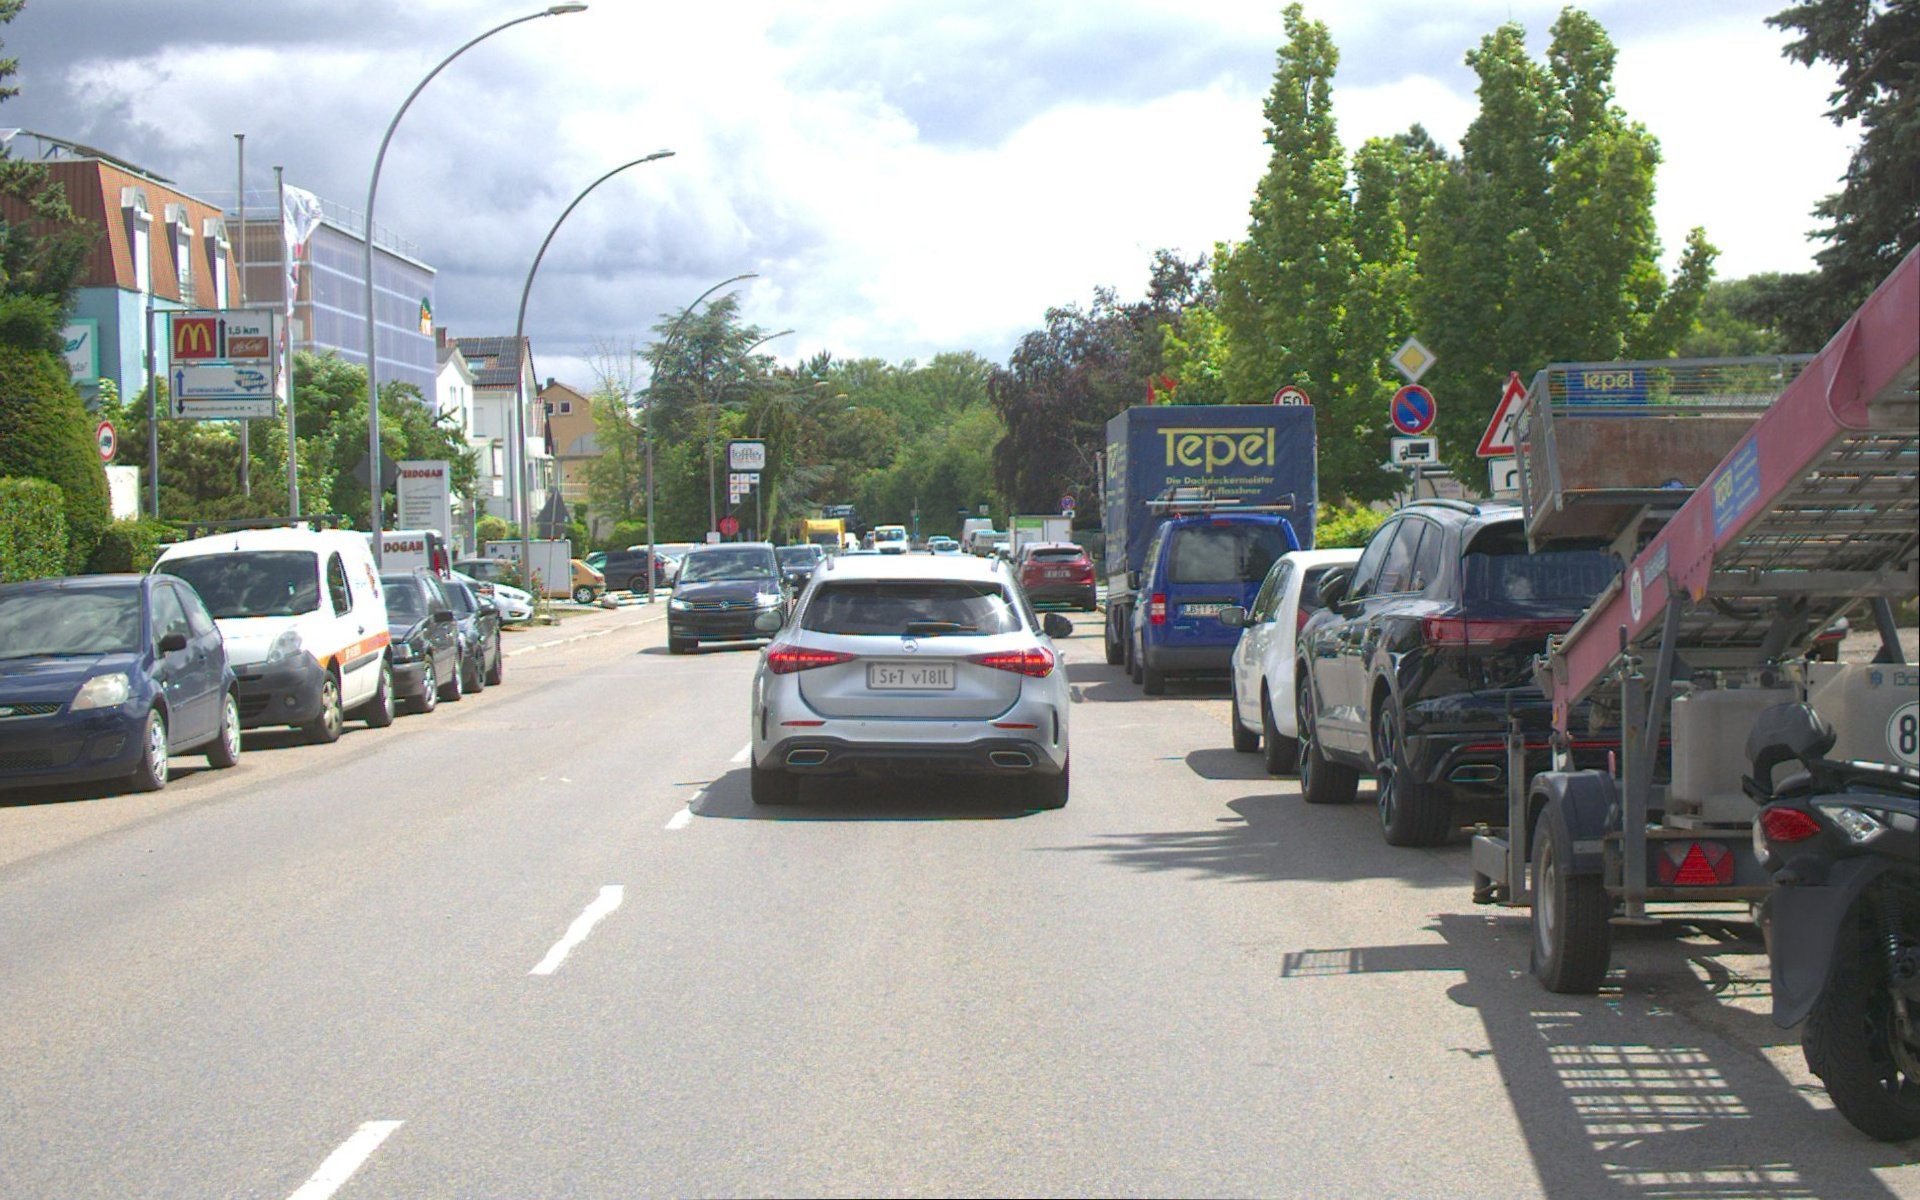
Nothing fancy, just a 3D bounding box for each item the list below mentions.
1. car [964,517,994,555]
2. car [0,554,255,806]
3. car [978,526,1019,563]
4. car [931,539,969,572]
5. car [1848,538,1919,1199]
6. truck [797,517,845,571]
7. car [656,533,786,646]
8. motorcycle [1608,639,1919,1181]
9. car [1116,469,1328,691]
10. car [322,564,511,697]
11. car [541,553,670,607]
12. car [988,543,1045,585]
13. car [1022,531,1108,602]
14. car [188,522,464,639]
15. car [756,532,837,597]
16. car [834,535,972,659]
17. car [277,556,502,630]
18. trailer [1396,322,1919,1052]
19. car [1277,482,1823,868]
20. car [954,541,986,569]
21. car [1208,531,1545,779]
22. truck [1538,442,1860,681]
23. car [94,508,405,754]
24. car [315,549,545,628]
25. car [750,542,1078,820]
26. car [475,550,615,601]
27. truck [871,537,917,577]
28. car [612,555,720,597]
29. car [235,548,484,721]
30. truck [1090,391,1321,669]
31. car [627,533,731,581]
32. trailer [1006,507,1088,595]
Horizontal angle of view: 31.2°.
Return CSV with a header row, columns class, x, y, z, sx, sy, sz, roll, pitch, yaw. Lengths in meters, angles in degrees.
class,x,y,z,sx,sy,sz,roll,pitch,yaw
car,1.242,-4.186,225.375,1.784,2.510,4.317,0,1,-2
car,-6.102,0.506,23.731,1.639,1.482,4.001,-4,2,-1
car,2.090,-3.041,187.969,2.144,1.977,5.261,-2,1,0
car,-0.501,-2.190,169.277,1.755,1.553,4.000,-1,1,-1
car,2.747,0.603,5.424,1.719,1.427,3.983,-3,2,2
truck,-7.499,-3.068,186.342,2.075,2.804,7.078,-2,1,1
car,-3.633,-0.193,52.873,1.743,1.622,4.356,-1,1,-1
motorcycle,2.585,0.721,8.850,1.817,1.205,0.717,-3,2,-35
car,2.679,-0.247,36.087,1.873,2.161,4.464,1,1,0
car,-6.284,0.316,40.100,1.630,1.299,4.117,-4,2,-2
car,-13.330,-0.760,129.356,4.626,1.627,2.198,-4,2,-3
car,2.106,-1.376,129.192,1.791,1.445,4.364,-2,1,-2
car,2.497,-0.815,81.864,1.941,1.566,4.445,-2,1,2
car,-11.470,-0.375,62.477,4.650,1.965,2.116,-1,1,-3
car,-4.393,-0.985,92.776,1.993,1.610,4.411,-2,1,-1
car,-0.767,-0.074,46.389,1.755,1.553,4.000,-1,1,-1
car,-10.817,-0.141,65.391,3.987,1.310,1.872,-1,0,-1
trailer,2.753,0.198,12.245,1.772,2.137,4.114,-2,1,-1
car,2.939,0.289,18.193,1.873,1.721,4.713,-2,1,-2
car,0.596,-2.777,213.193,1.784,1.709,4.317,0,1,-2
car,2.791,0.307,23.835,1.773,1.503,4.000,-2,1,-1
truck,7.287,-0.476,34.477,1.829,2.074,5.386,-4,3,-1
car,-5.997,0.193,29.514,1.743,1.832,4.356,-4,2,-1
car,-10.780,-0.232,70.129,4.374,1.473,1.871,-1,0,0
car,-0.326,0.401,20.845,1.784,1.479,4.317,0,1,-2
car,-12.768,-0.765,105.881,4.149,1.486,1.826,1,1,-3
truck,-3.806,-2.529,199.361,2.319,2.171,6.449,-2,1,2
car,-12.148,-0.988,142.151,4.279,1.561,1.991,-2,-2,0
car,-6.042,0.292,35.070,1.743,1.467,4.645,-4,2,-1
truck,2.865,-0.852,41.569,2.320,3.086,6.043,1,1,0
car,-12.032,-1.830,147.259,4.279,1.830,1.991,-2,-2,-1
trailer,2.336,-1.329,93.255,1.941,2.286,4.446,-2,1,-1
